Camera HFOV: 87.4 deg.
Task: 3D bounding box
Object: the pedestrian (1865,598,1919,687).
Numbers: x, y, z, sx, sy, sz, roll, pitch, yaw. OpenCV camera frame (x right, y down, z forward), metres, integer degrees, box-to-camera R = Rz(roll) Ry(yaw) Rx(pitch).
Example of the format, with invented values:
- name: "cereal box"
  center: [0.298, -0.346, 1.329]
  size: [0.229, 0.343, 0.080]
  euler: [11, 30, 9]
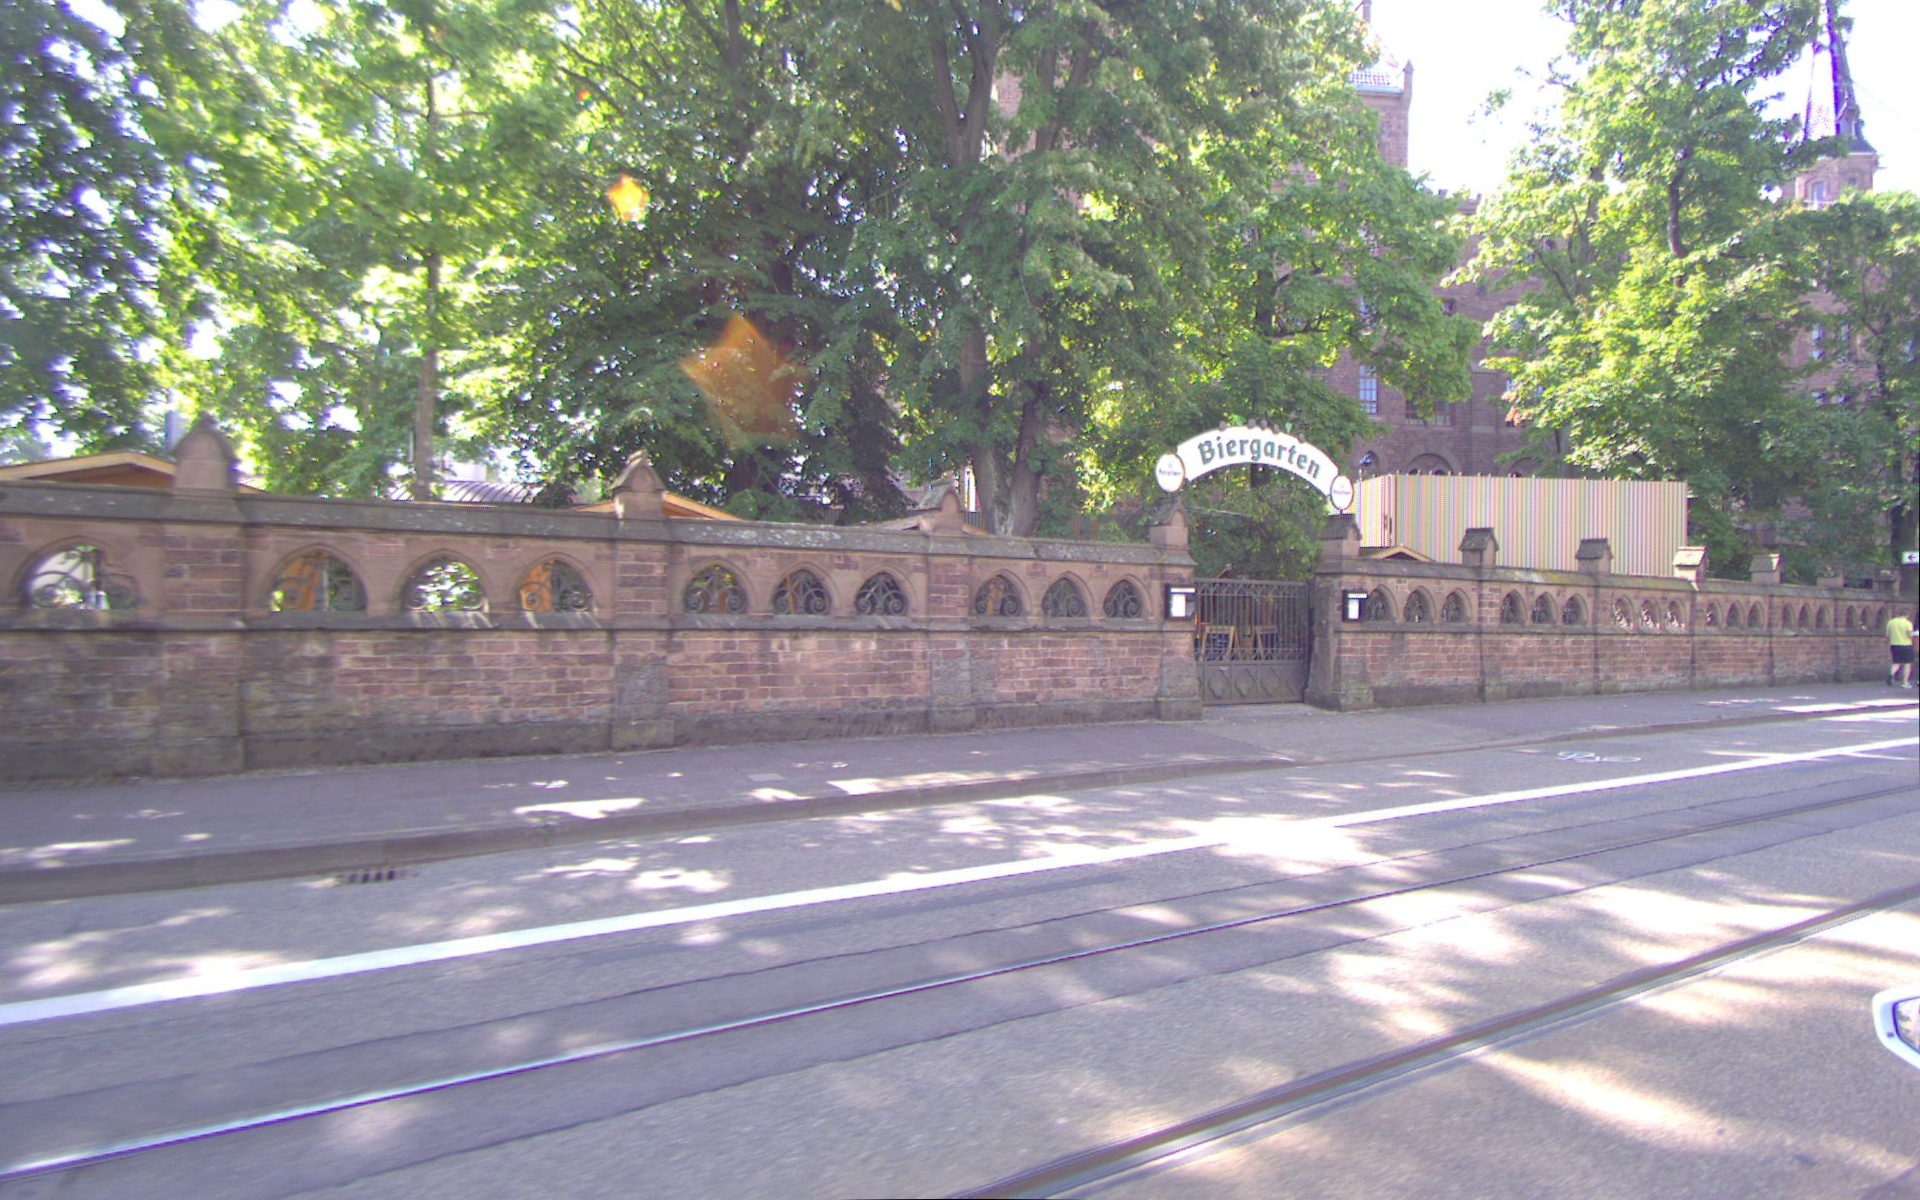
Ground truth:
- name: "pedestrian"
  center: [21.951, 0.974, 23.534]
  size: [0.972, 2.040, 0.859]
  euler: [1, 0, -32]
